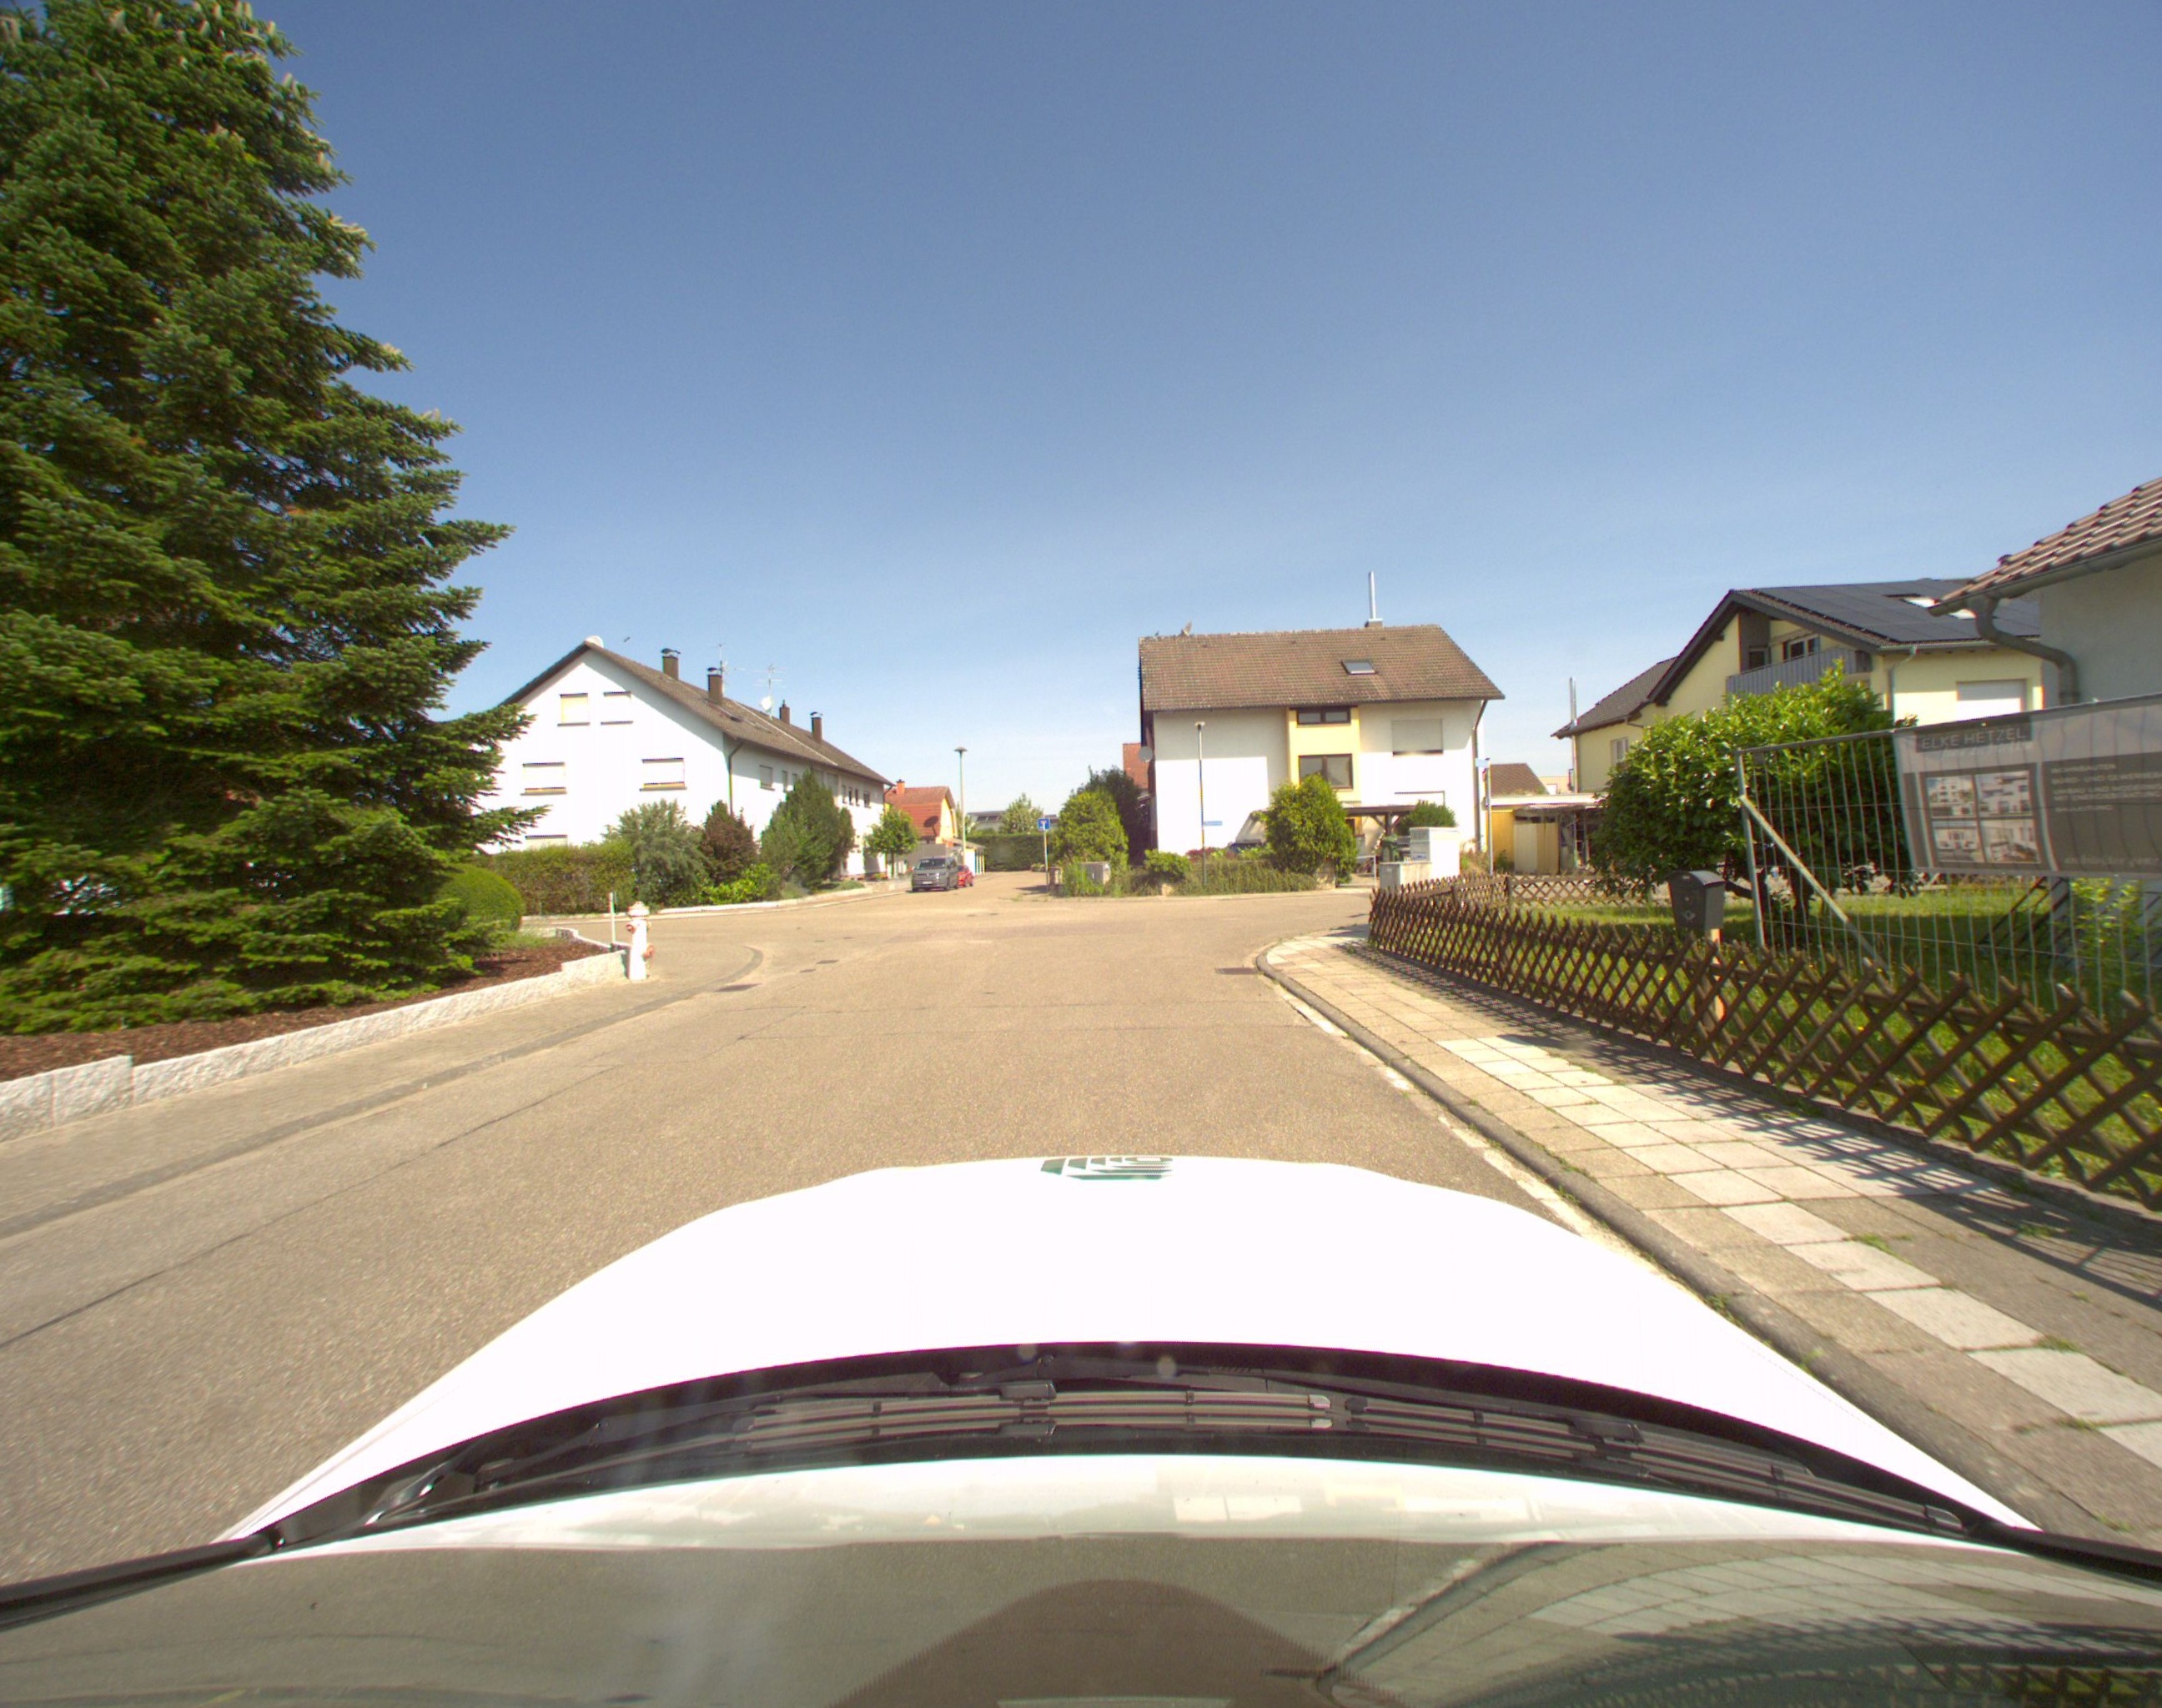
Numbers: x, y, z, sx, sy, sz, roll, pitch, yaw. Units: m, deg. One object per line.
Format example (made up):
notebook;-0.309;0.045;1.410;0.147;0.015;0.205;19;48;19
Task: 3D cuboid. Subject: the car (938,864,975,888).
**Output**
car;-7.805;1.377;51.236;1.646;1.365;3.779;-2;0;0

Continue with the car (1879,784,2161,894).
car;18.985;-0.297;16.256;4.174;1.938;1.872;-2;0;2

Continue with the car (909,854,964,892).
car;-7.820;0.991;44.514;1.893;1.869;4.375;-2;0;3
